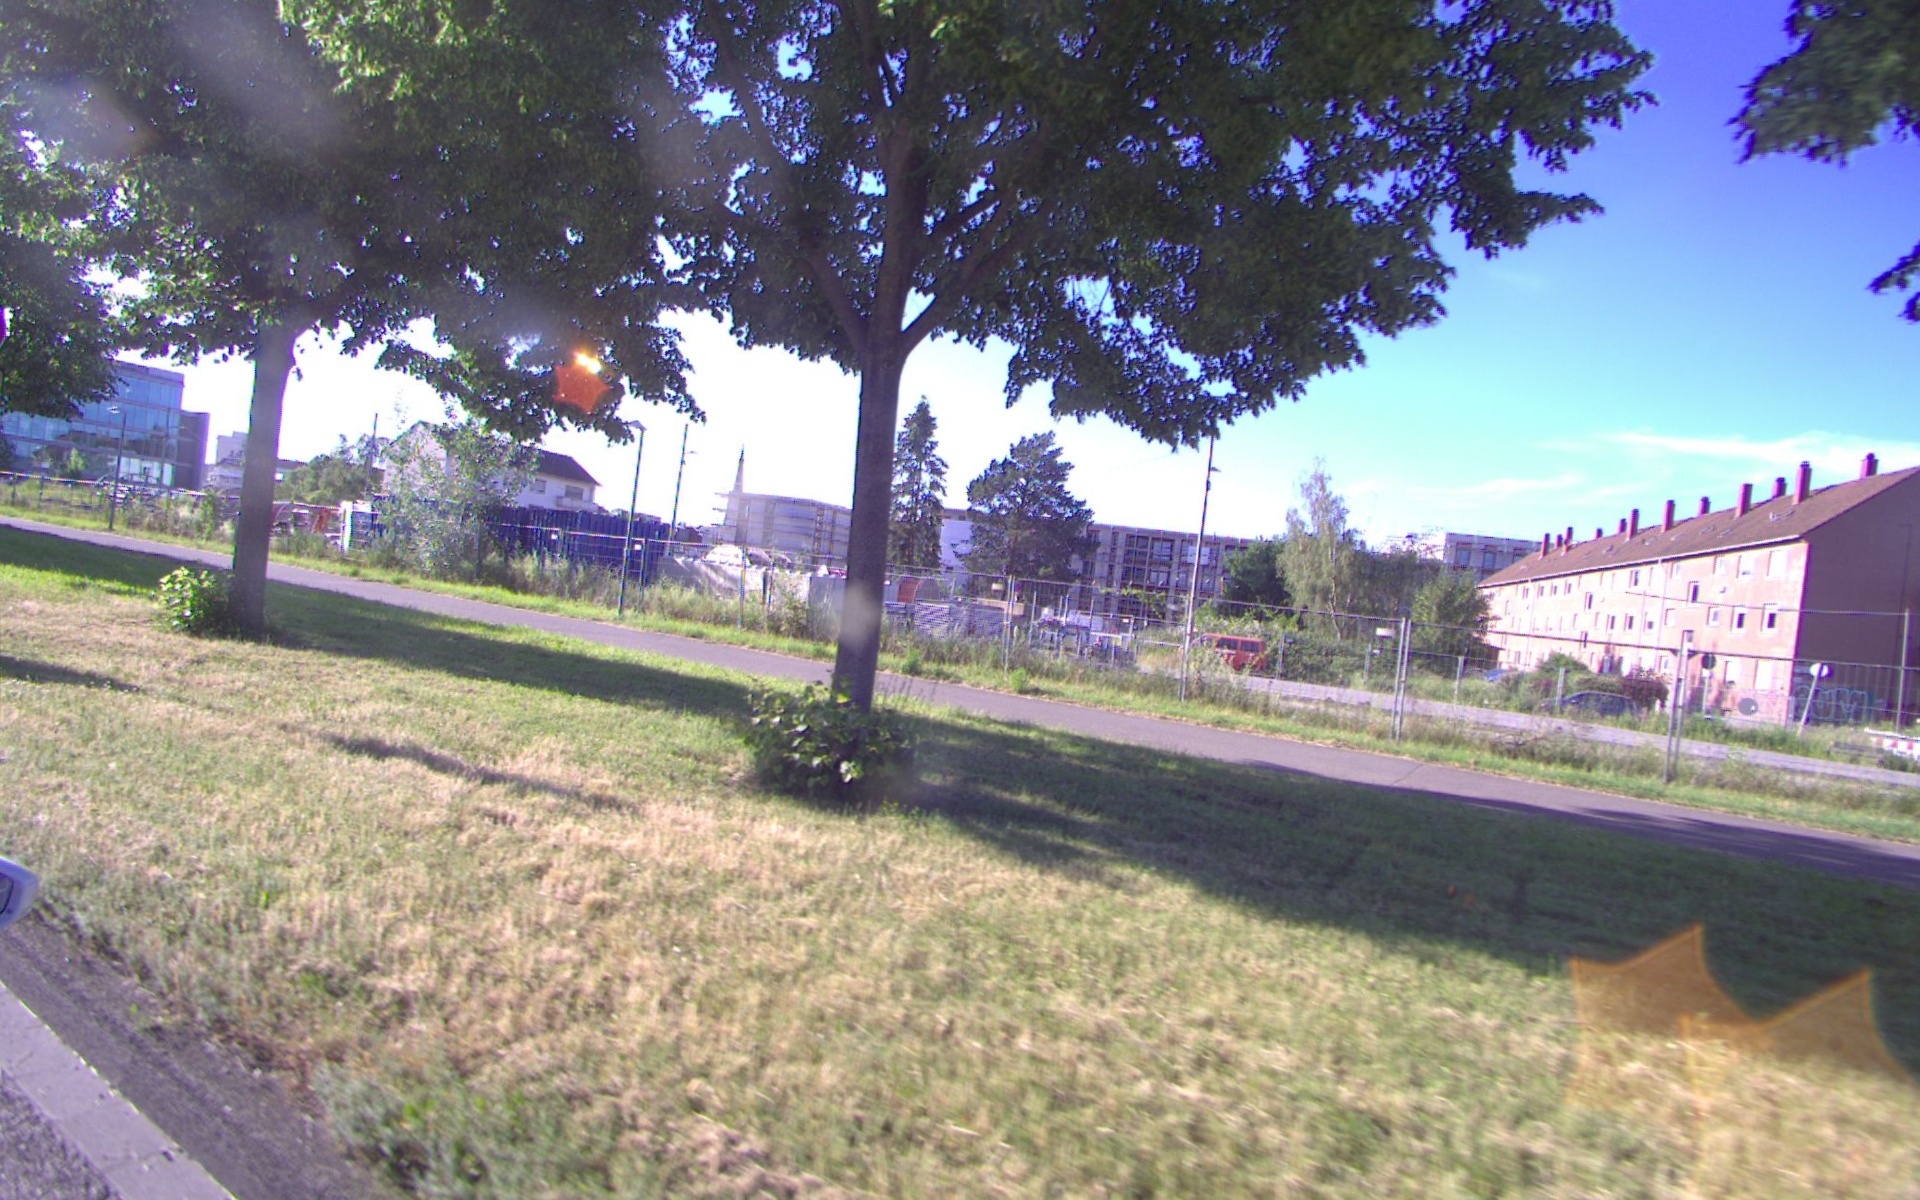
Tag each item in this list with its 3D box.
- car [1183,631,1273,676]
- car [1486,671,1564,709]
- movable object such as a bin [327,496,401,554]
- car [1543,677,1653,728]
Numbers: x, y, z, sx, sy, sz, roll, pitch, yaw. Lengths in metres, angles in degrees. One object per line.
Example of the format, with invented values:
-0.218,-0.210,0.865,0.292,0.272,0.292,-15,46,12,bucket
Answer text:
13.859,2.769,52.062,3.934,1.749,2.174,7,0,32,car
32.836,5.209,58.434,3.734,1.653,1.896,7,0,32,car
-23.748,-2.989,40.118,1.760,2.038,1.797,5,-1,33,movable object such as a bin
27.838,4.448,44.051,3.844,1.576,1.996,7,0,32,car
